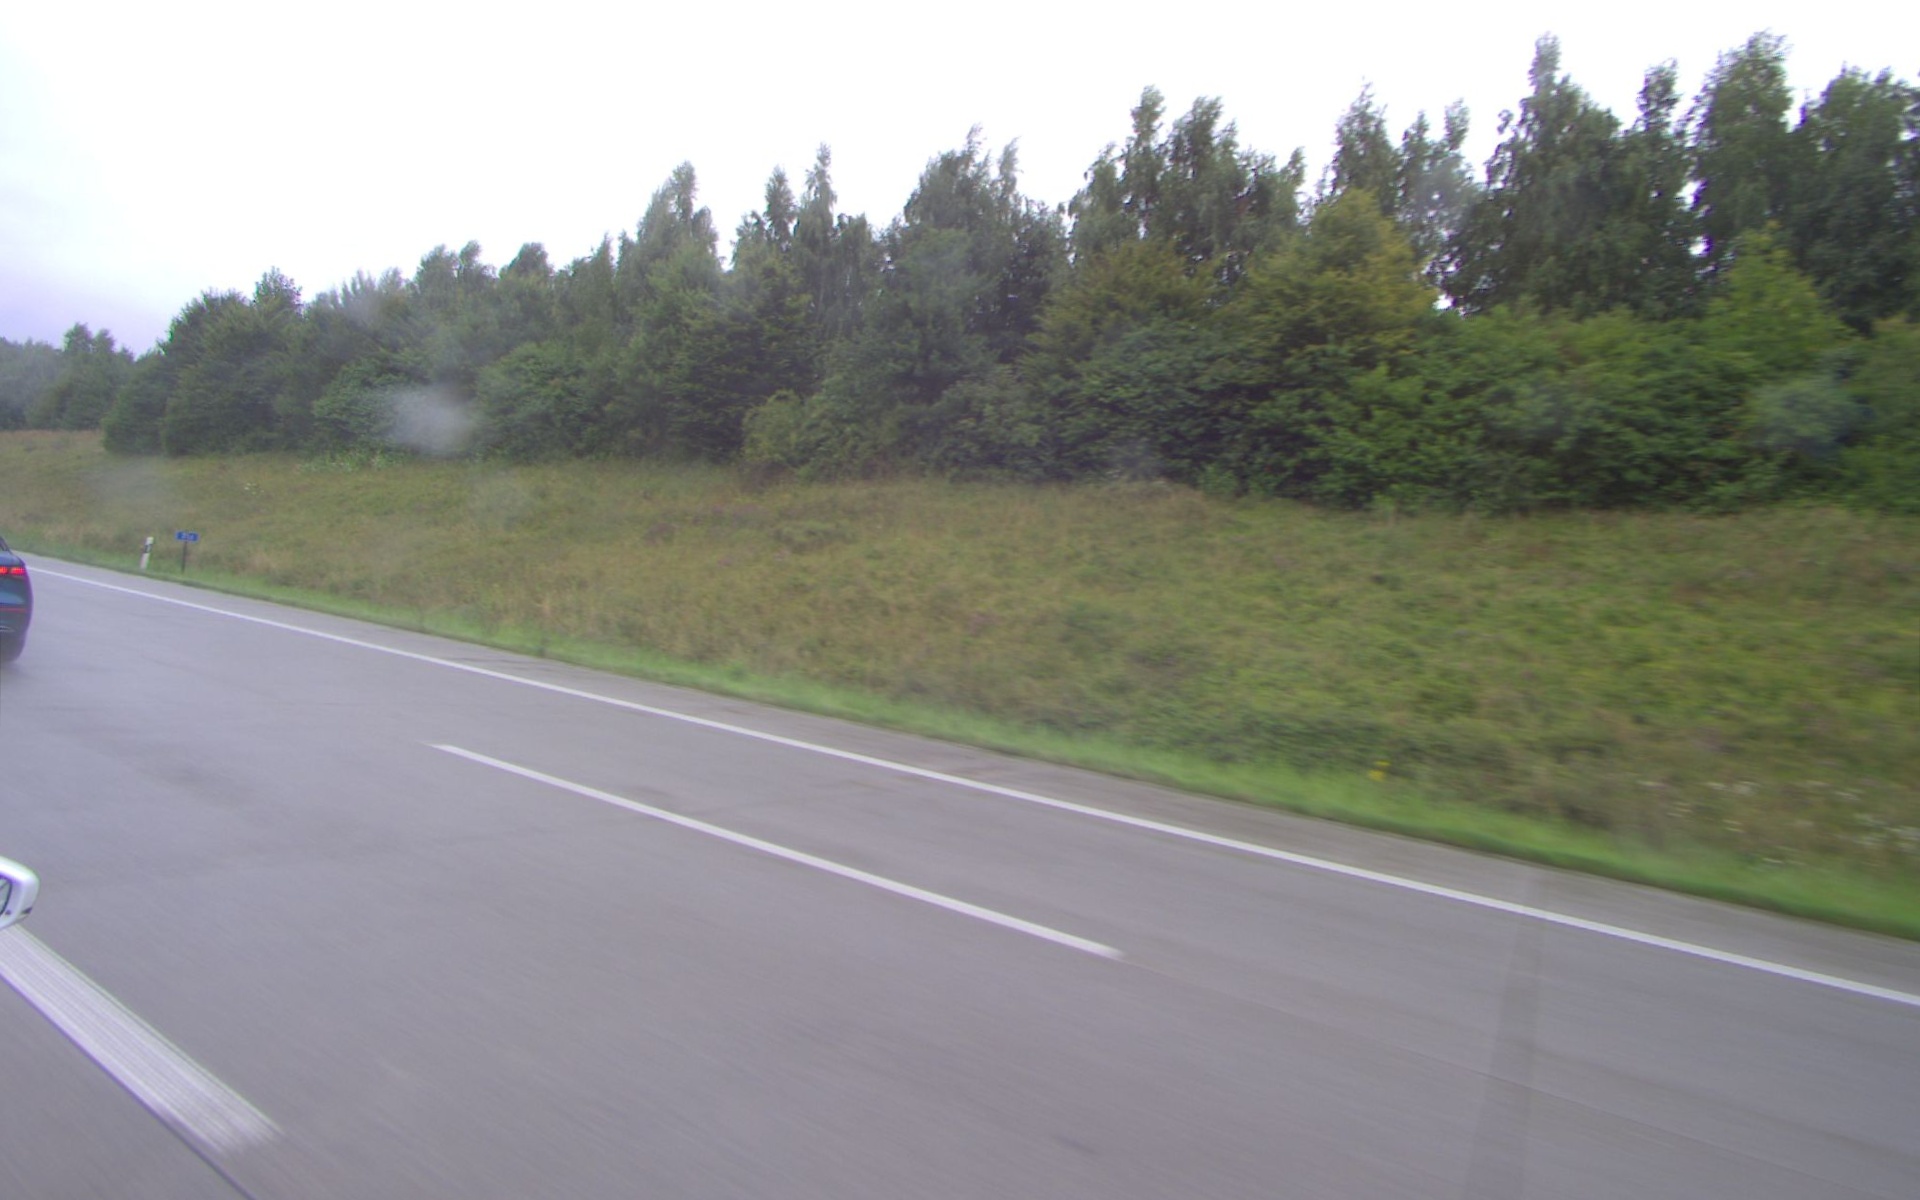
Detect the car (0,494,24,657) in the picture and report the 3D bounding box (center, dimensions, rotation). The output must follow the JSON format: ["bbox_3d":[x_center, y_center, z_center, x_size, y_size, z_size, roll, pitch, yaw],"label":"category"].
[{"bbox_3d":[-11.077,-0.449,9.738,4.595,1.476,1.731,5,-1,32],"label":"car"}]
